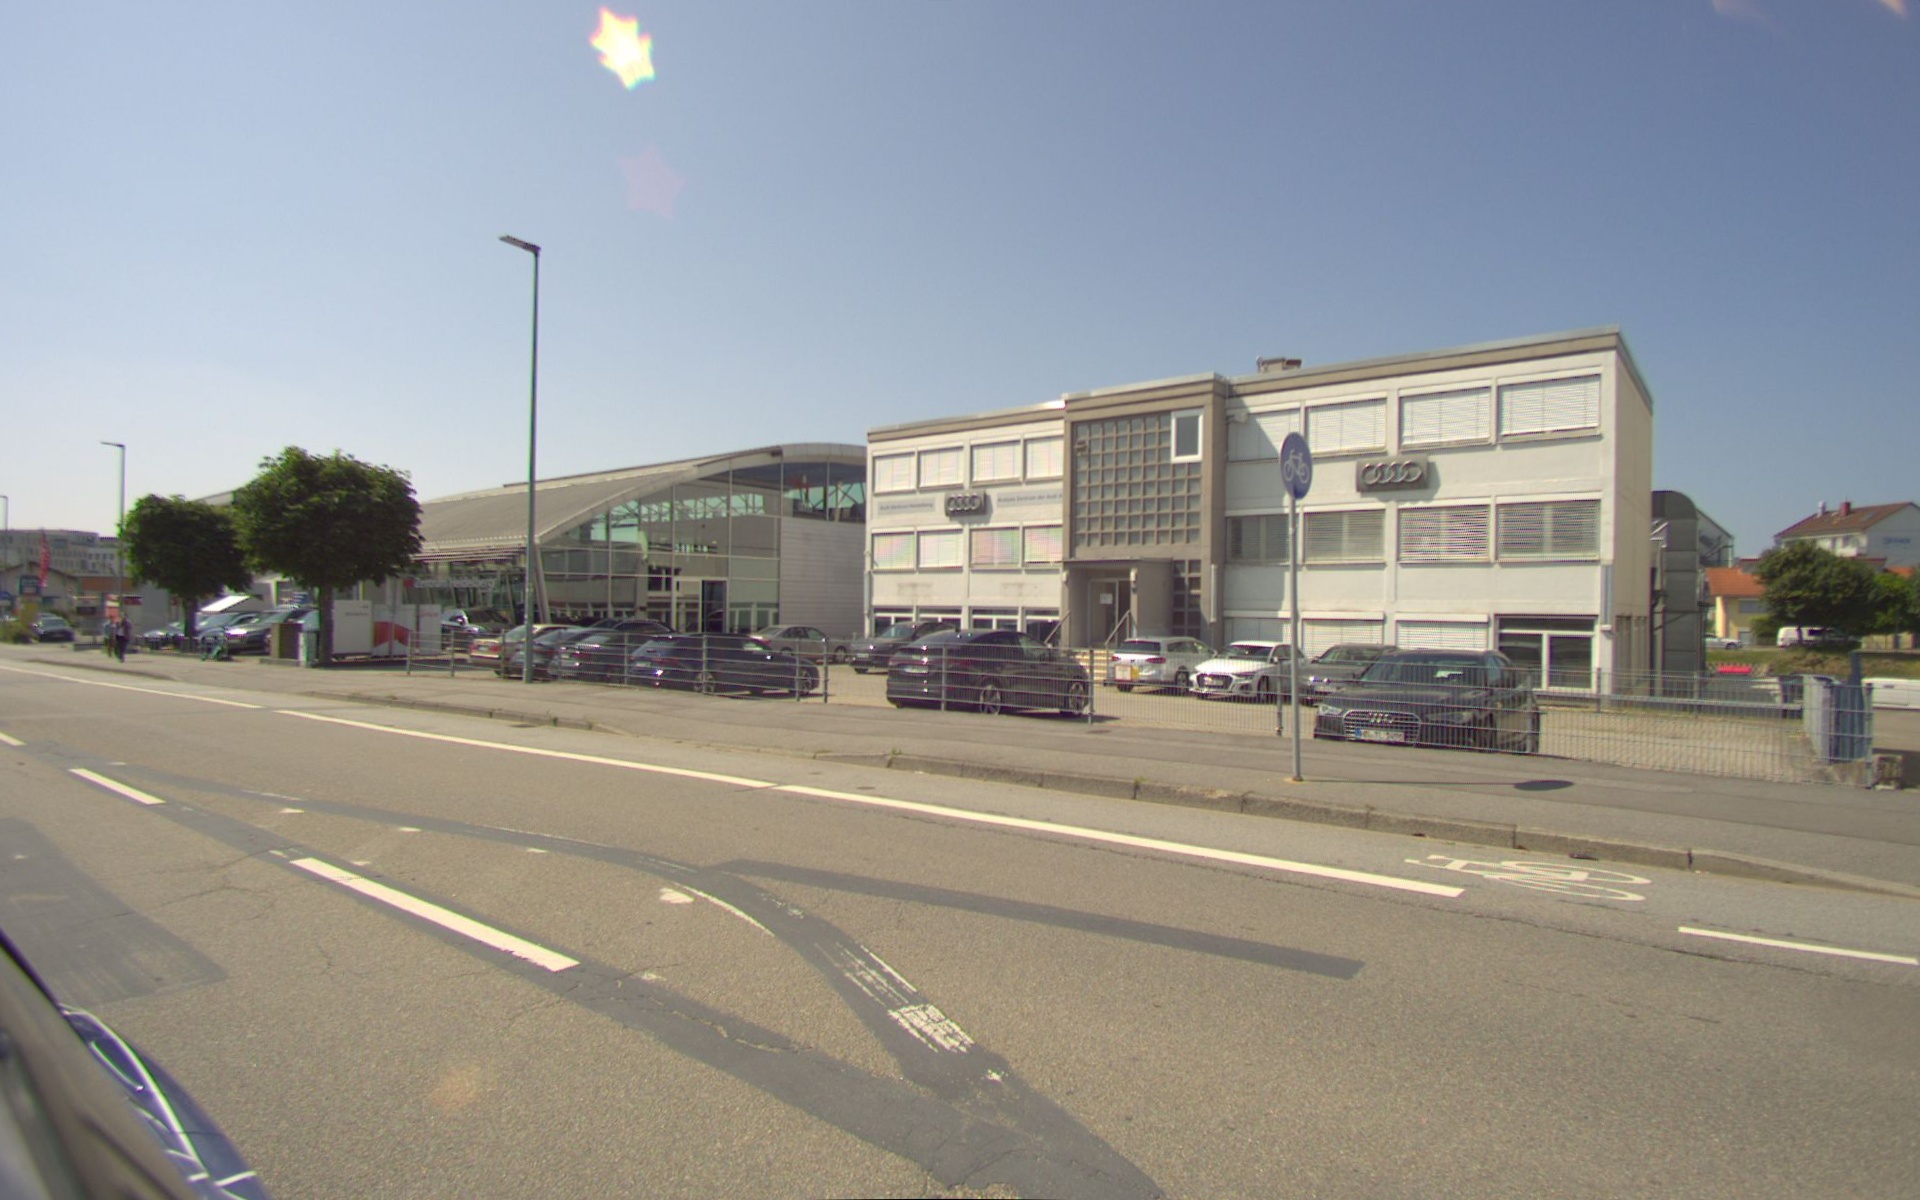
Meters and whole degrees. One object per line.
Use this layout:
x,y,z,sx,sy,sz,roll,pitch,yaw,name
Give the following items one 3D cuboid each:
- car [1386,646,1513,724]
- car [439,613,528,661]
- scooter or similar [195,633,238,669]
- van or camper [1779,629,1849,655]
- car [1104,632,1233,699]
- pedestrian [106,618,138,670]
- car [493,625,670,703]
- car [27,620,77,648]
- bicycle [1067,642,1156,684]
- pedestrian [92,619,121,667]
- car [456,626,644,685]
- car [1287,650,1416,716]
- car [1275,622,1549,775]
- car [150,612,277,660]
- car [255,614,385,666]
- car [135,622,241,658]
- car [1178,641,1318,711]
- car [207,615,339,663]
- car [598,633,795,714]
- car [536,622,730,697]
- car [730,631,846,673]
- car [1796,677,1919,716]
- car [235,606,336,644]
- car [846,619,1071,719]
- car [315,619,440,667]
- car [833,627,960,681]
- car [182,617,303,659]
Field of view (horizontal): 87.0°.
11.221,1.853,23.078,1.856,1.472,3.949,-1,-1,37,car
-18.125,1.362,38.430,1.969,1.697,4.004,0,-1,-42,car
-26.253,1.787,35.741,1.485,1.257,0.738,-1,-1,31,scooter or similar
68.911,3.408,81.723,4.044,2.029,1.977,-2,-2,34,van or camper
5.626,1.679,27.041,1.856,1.557,3.949,-1,-1,37,car
-30.473,1.587,36.802,1.046,1.882,0.725,-2,-2,41,pedestrian
-9.479,1.539,25.598,1.819,1.455,3.858,2,4,34,car
-57.764,2.161,64.338,3.998,1.728,1.885,-1,-2,41,car
4.618,1.908,30.953,2.572,1.187,0.917,-1,-1,37,bicycle
-34.054,1.703,40.377,0.910,1.862,0.716,-2,-2,40,pedestrian
-11.151,1.453,27.805,1.897,1.468,4.482,-1,-2,37,car
9.429,1.921,24.194,1.856,1.274,3.949,-1,-1,37,car
5.723,1.023,12.446,2.045,1.492,4.694,-1,-2,37,car
-32.605,1.542,44.379,1.940,1.620,4.479,-5,2,3,car
-23.826,1.438,37.897,1.886,1.720,4.477,-1,1,3,car
-35.247,1.794,46.344,1.879,1.470,4.165,-1,0,-4,car
7.264,1.839,25.334,1.816,1.413,3.944,1,1,42,car
-26.459,1.454,39.179,1.835,1.709,4.575,-1,-1,3,car
-5.731,1.547,22.441,1.855,1.501,3.952,2,0,35,car
-7.625,1.439,23.916,1.856,1.454,3.951,-1,-7,36,car
-6.216,1.858,36.948,1.857,1.370,3.948,-1,-1,38,car
40.578,4.320,45.581,4.446,1.518,2.128,-2,-2,40,car
-33.820,1.250,50.733,4.703,1.732,1.985,-1,2,24,car
0.101,1.143,18.276,1.991,1.570,4.259,-1,-2,35,car
-20.704,1.501,36.152,1.837,1.562,3.990,-1,-1,8,car
-2.010,1.715,33.165,1.855,1.565,4.315,-1,-1,36,car
-29.397,1.529,41.633,1.850,1.506,4.199,0,1,3,car
